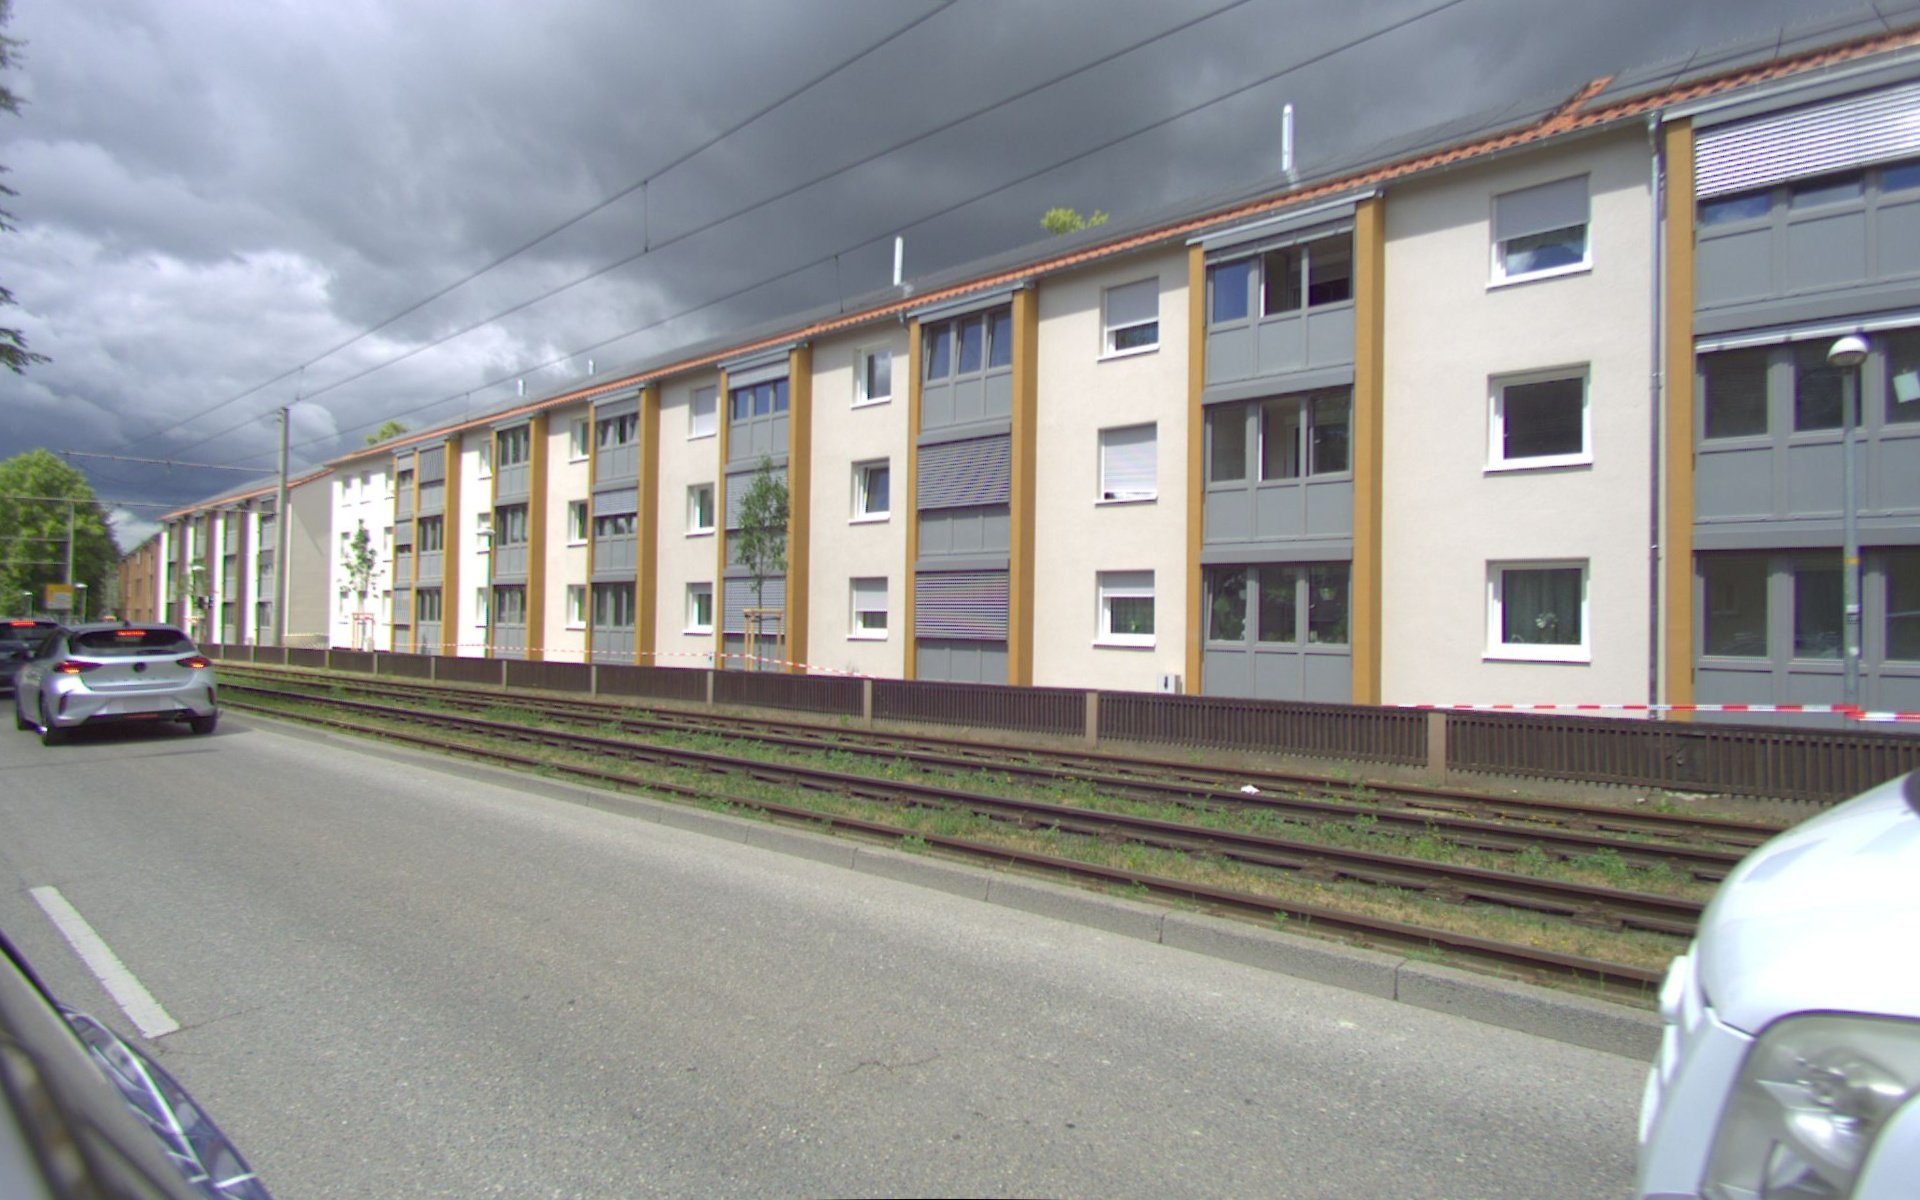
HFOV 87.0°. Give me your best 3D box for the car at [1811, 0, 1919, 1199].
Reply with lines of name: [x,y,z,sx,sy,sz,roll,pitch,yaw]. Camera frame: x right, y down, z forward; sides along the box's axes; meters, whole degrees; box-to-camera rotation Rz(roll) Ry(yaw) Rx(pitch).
car: [3.322,0.347,0.189,4.782,2.011,1.973,-1,-1,40]

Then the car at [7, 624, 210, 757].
car: [-11.145,1.057,13.165,3.647,1.424,1.591,-1,0,43]

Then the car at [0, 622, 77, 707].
car: [-18.741,1.216,19.864,3.677,1.533,1.644,-1,0,41]

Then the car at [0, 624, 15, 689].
car: [-24.738,1.390,25.017,3.784,1.533,1.644,-1,0,41]
